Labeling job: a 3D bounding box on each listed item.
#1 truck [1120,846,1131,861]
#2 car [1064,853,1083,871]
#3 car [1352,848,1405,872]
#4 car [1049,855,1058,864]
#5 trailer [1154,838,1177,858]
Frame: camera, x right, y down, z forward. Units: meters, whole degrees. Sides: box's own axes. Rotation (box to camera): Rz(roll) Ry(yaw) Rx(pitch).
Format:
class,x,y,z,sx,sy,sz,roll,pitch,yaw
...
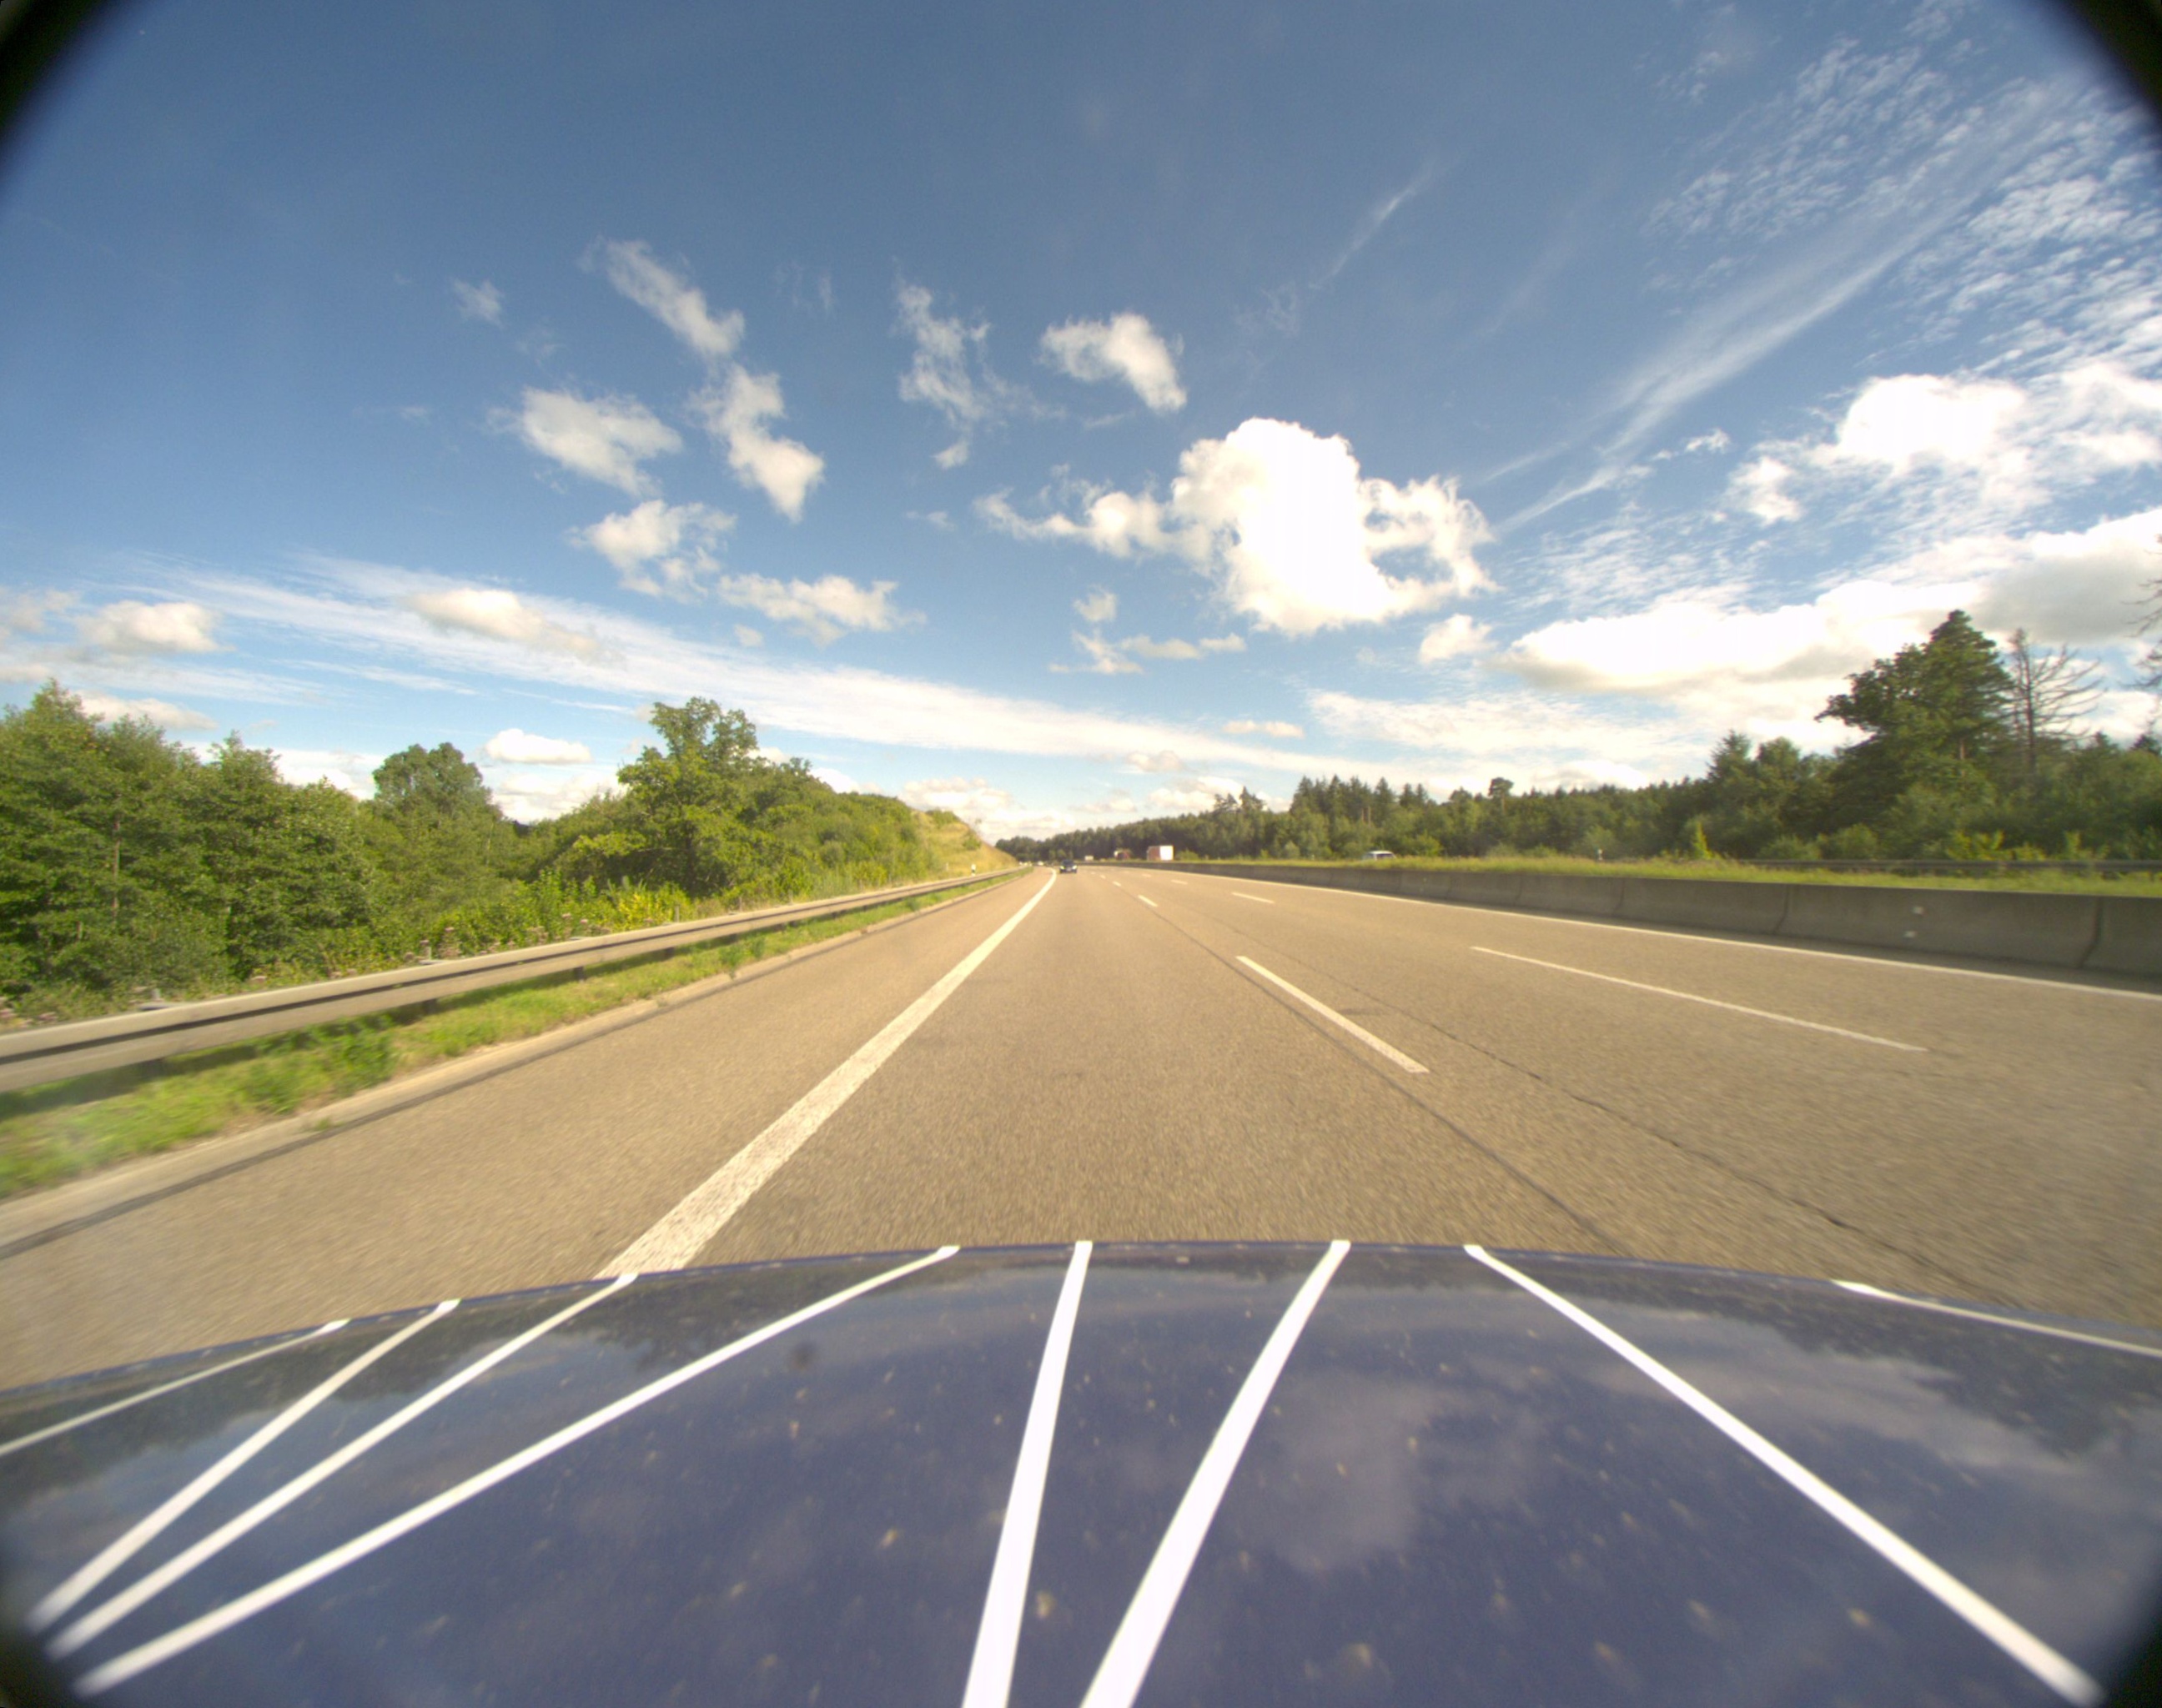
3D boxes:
class,x,y,z,sx,sy,sz,roll,pitch,yaw
truck,13.433,-0.126,230.007,2.810,4.366,5.462,-2,0,-3
car,-0.772,0.837,81.902,1.998,1.827,3.999,-2,1,0
car,19.127,0.382,49.069,1.846,1.448,4.000,-2,0,0
car,-6.918,1.423,191.181,1.999,2.002,3.998,-2,0,-4
trailer,18.252,-1.230,165.413,3.029,4.084,12.789,-2,0,-2
